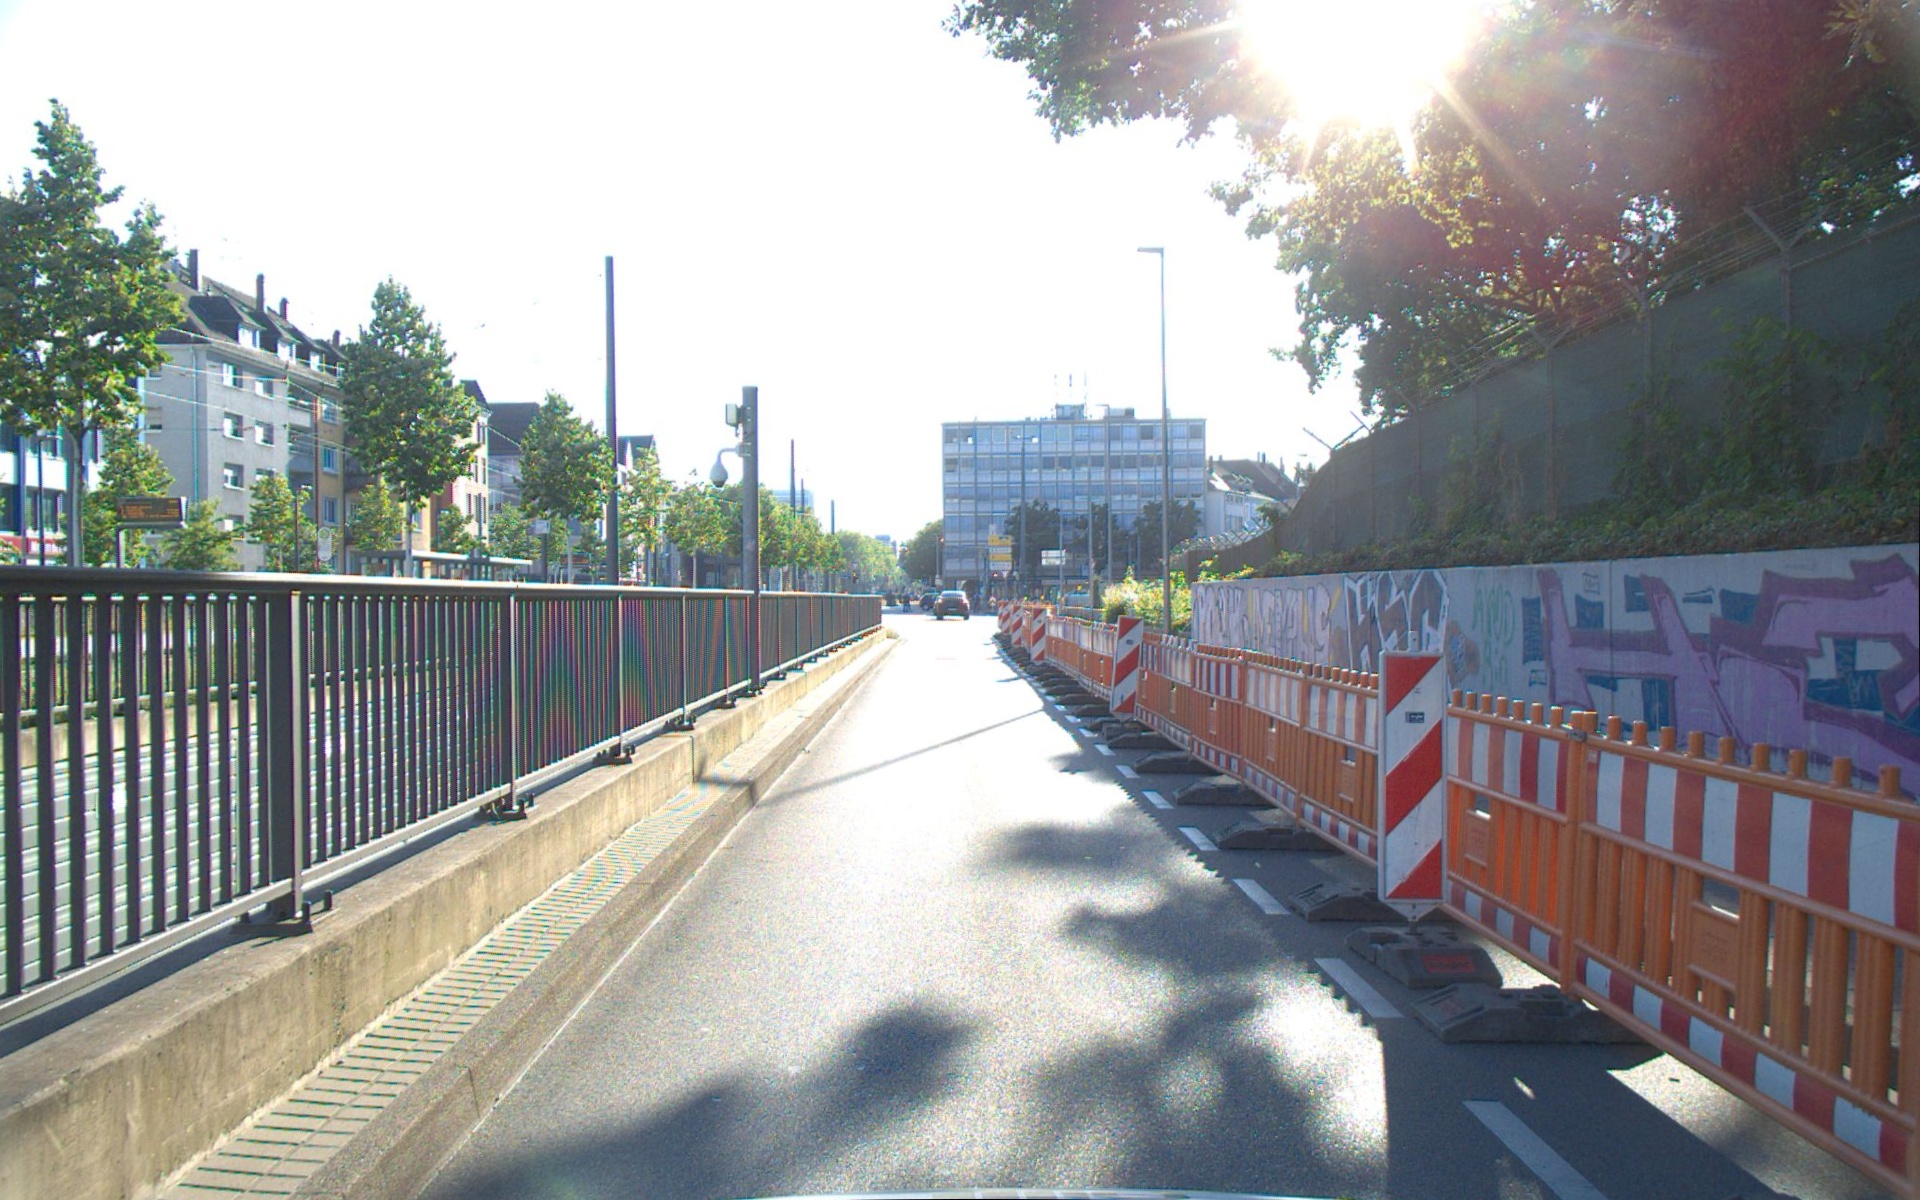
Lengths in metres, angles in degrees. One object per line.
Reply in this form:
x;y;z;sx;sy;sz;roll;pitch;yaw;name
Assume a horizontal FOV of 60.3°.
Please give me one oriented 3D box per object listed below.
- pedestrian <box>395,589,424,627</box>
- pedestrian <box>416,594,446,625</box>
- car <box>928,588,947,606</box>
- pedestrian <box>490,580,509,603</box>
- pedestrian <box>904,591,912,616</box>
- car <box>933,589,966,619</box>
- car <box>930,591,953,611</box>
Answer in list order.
-21.120;0.320;63.479;0.821;1.435;0.803;-1;0;-1;pedestrian
-21.124;0.388;66.051;0.915;1.218;0.764;-1;0;-1;pedestrian
-3.135;-0.381;228.396;2.436;2.434;5.932;-2;0;-2;car
-21.071;-0.380;75.691;0.614;1.065;0.794;-1;0;-1;pedestrian
-4.352;0.292;138.175;0.600;2.049;0.511;0;0;3;pedestrian
-0.683;0.207;102.180;1.953;1.723;4.000;1;1;-1;car
-1.381;0.061;124.359;1.708;1.451;4.000;0;0;0;car
